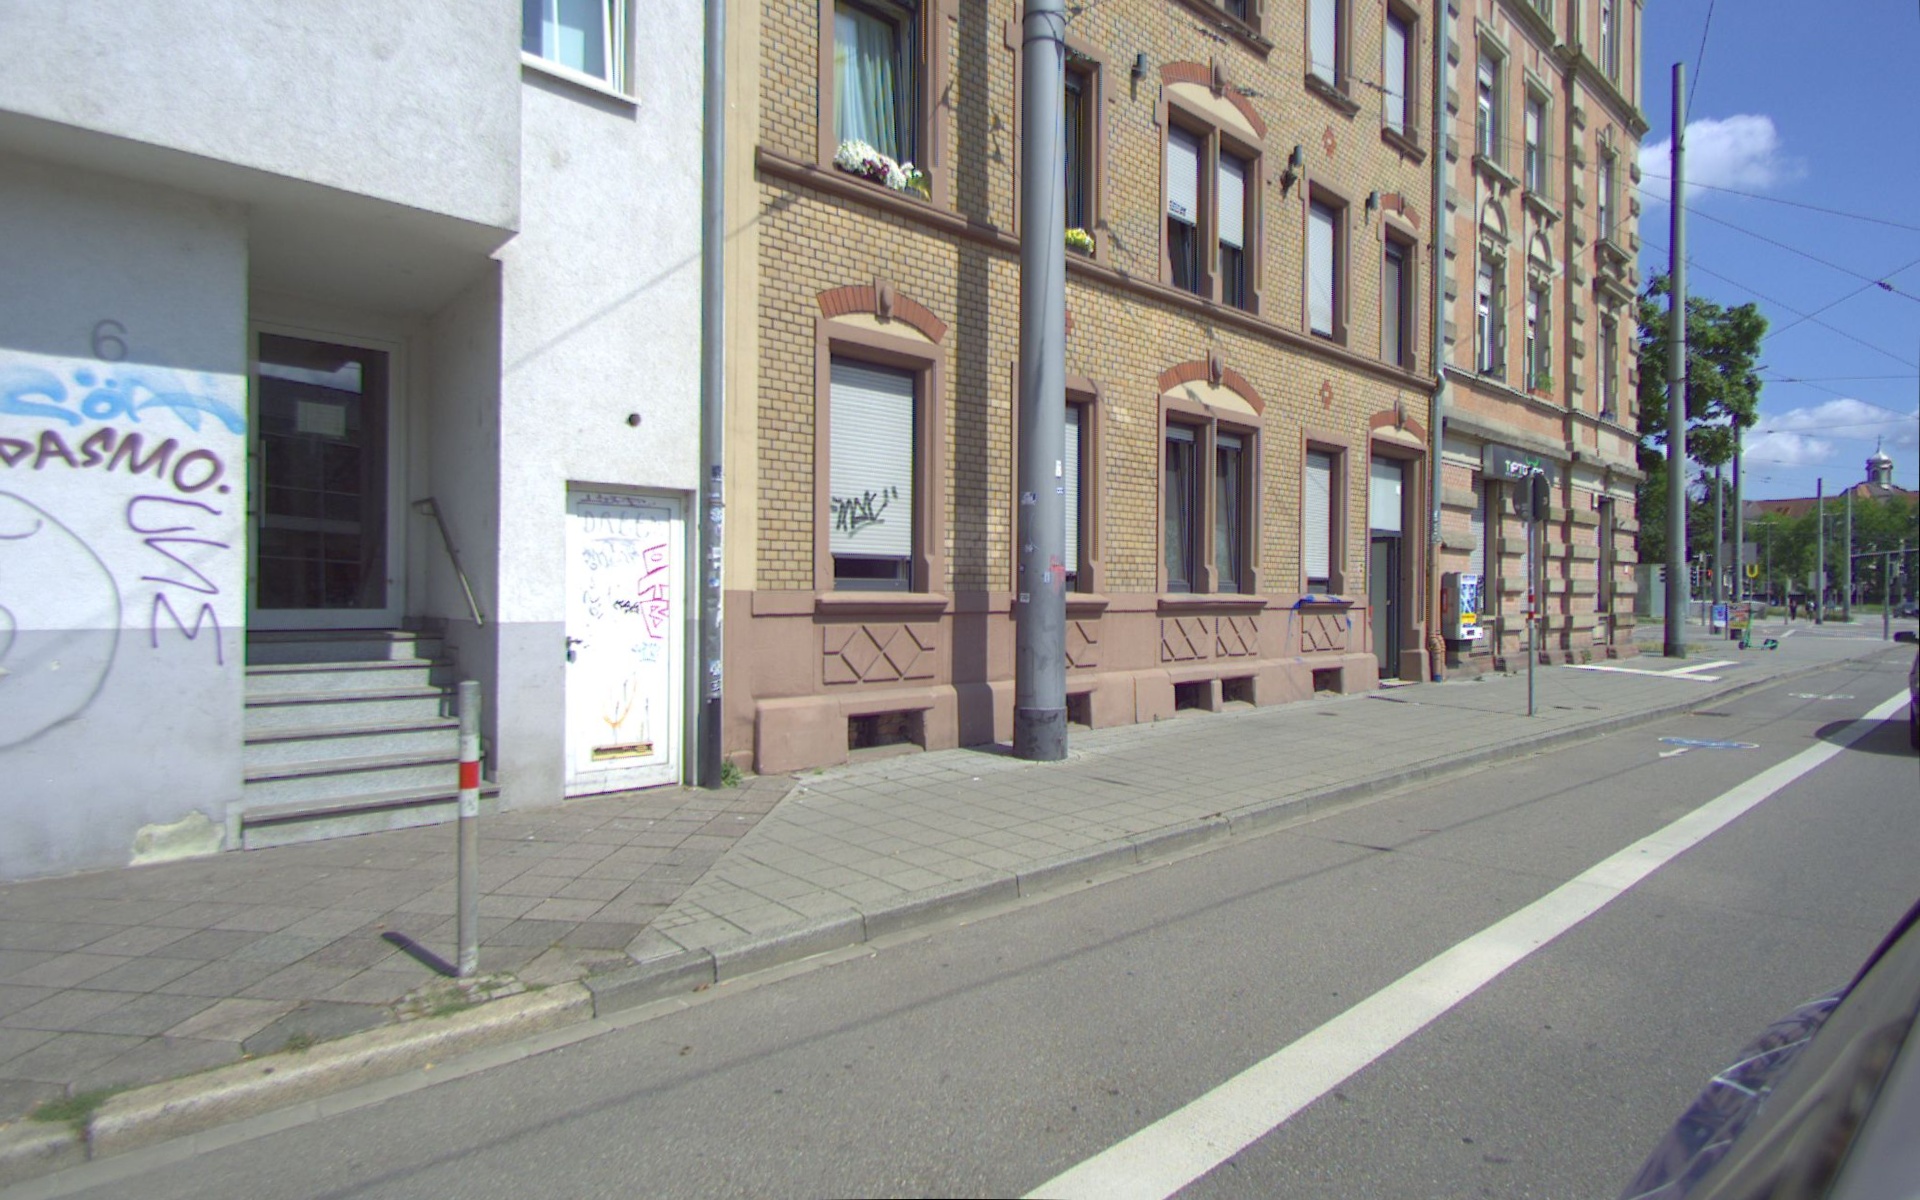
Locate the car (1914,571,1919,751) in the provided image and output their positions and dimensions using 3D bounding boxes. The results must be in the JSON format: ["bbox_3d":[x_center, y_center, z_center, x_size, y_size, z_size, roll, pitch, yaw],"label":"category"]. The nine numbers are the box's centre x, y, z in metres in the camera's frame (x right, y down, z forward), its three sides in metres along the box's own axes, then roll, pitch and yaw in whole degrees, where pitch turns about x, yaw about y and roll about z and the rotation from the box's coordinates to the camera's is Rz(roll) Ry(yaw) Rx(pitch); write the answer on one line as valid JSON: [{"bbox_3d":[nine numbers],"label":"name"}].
[{"bbox_3d":[11.323,0.583,10.458,4.015,1.739,1.817,0,0,-42],"label":"car"}]

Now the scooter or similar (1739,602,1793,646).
[{"bbox_3d":[23.300,0.687,29.262,1.065,1.194,0.951,0,1,-35],"label":"scooter or similar"}]
